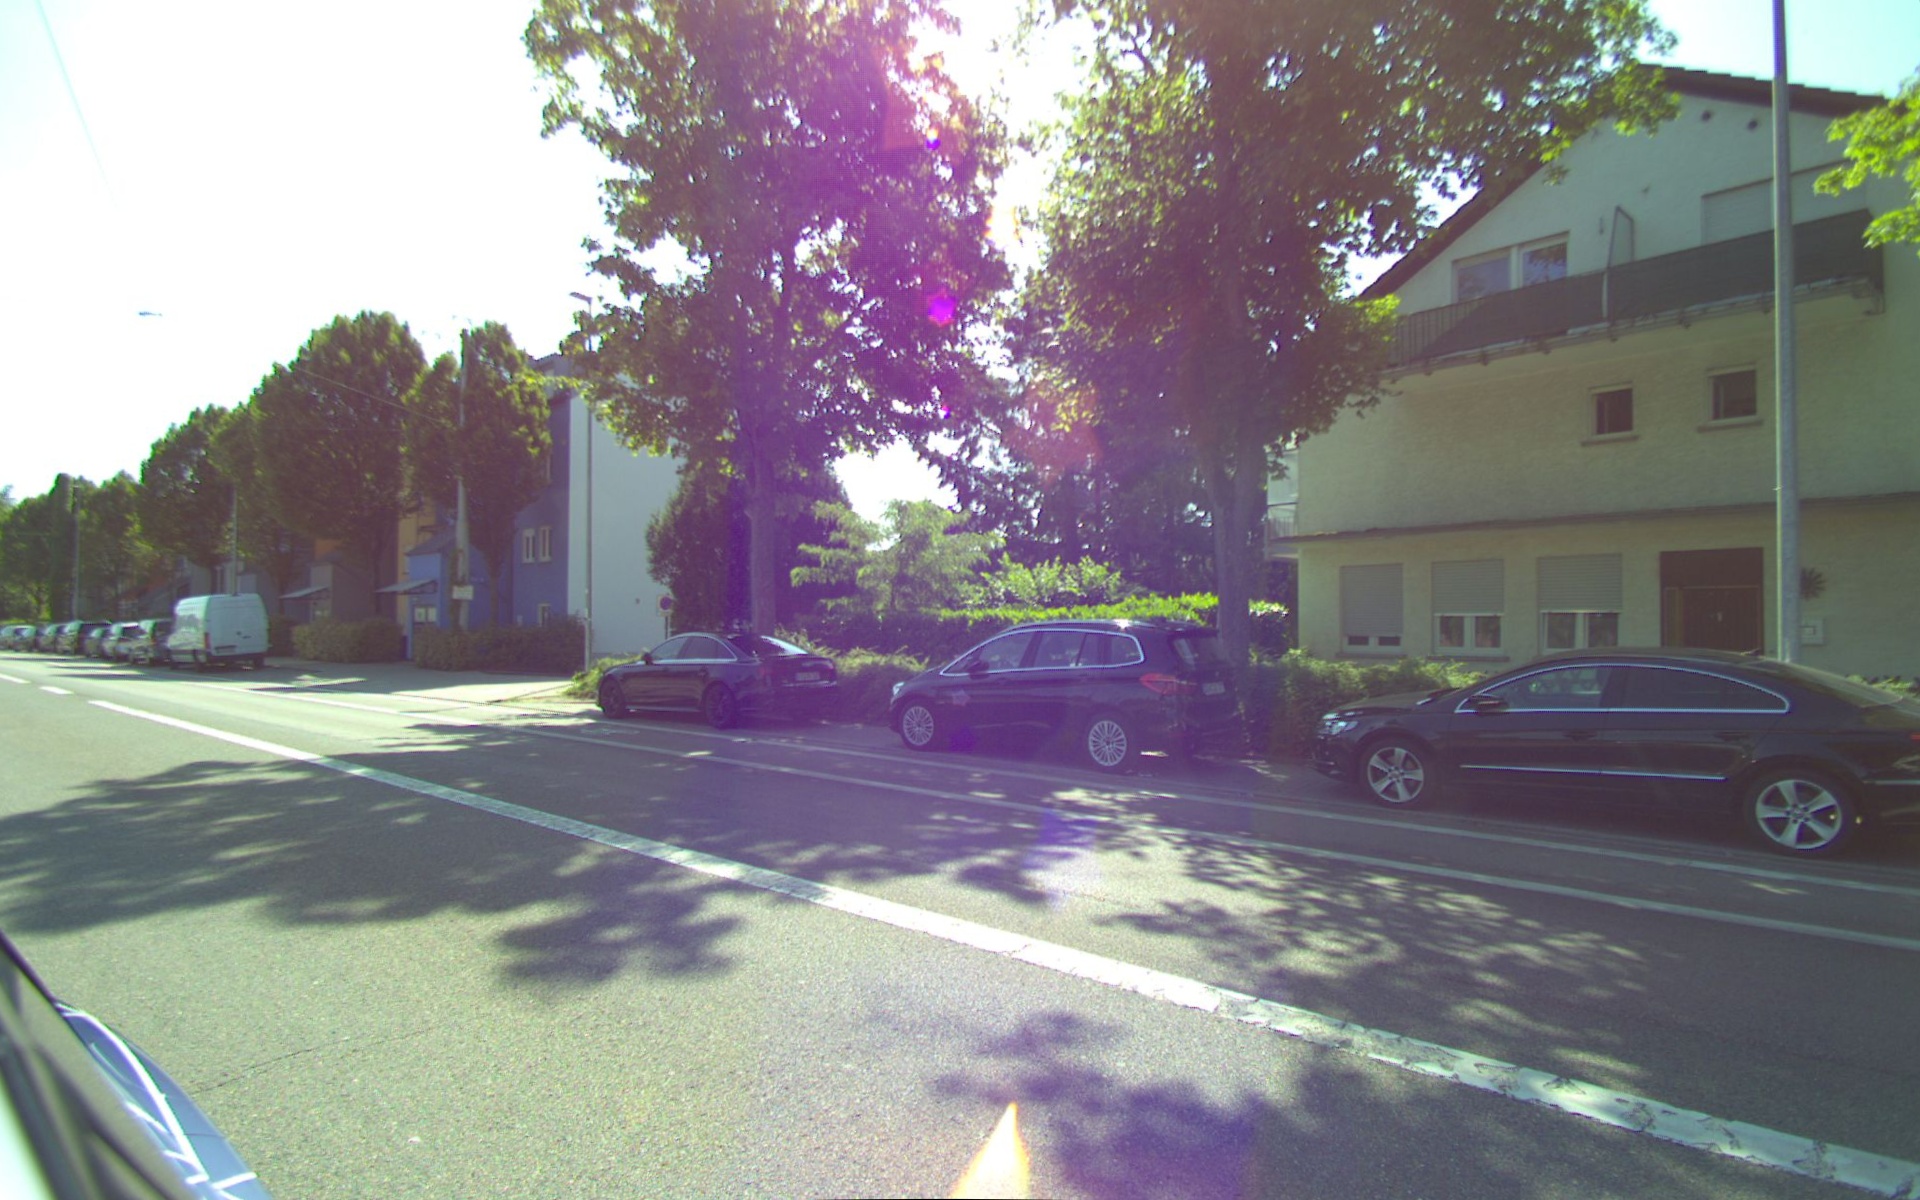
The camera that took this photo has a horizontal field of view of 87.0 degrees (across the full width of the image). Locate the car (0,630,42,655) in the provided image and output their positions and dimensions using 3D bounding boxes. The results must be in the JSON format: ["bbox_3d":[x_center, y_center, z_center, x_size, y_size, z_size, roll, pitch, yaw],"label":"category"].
[{"bbox_3d":[-59.909,2.683,64.038,4.826,1.457,1.662,-1,-1,35],"label":"car"}]

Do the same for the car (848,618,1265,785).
[{"bbox_3d":[0.961,1.050,12.156,4.891,1.618,1.743,-2,-2,41],"label":"car"}]

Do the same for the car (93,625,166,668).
[{"bbox_3d":[-37.903,2.080,46.143,4.539,1.715,1.829,-1,1,42],"label":"car"}]

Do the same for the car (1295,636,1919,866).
[{"bbox_3d":[5.393,1.031,8.228,4.779,1.390,1.673,-2,0,41],"label":"car"}]

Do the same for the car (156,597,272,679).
[{"bbox_3d":[-27.476,1.344,37.162,7.084,2.697,1.972,-2,1,42],"label":"car"}]

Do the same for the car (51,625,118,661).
[{"bbox_3d":[-45.707,2.196,52.831,4.343,1.741,1.812,-1,0,38],"label":"car"}]

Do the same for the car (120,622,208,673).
[{"bbox_3d":[-33.392,1.931,42.399,4.964,1.879,1.973,-2,2,41],"label":"car"}]

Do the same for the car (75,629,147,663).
[{"bbox_3d":[-41.553,2.207,49.506,4.069,1.466,1.849,-1,1,38],"label":"car"}]

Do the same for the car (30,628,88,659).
[{"bbox_3d":[-49.928,2.372,56.042,4.159,1.619,1.661,-1,-1,38],"label":"car"}]

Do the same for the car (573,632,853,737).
[{"bbox_3d":[-4.141,1.261,16.548,4.903,1.477,1.822,-1,-2,38],"label":"car"}]

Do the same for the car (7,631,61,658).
[{"bbox_3d":[-54.586,2.584,59.655,4.207,1.481,1.661,-1,-1,38],"label":"car"}]
